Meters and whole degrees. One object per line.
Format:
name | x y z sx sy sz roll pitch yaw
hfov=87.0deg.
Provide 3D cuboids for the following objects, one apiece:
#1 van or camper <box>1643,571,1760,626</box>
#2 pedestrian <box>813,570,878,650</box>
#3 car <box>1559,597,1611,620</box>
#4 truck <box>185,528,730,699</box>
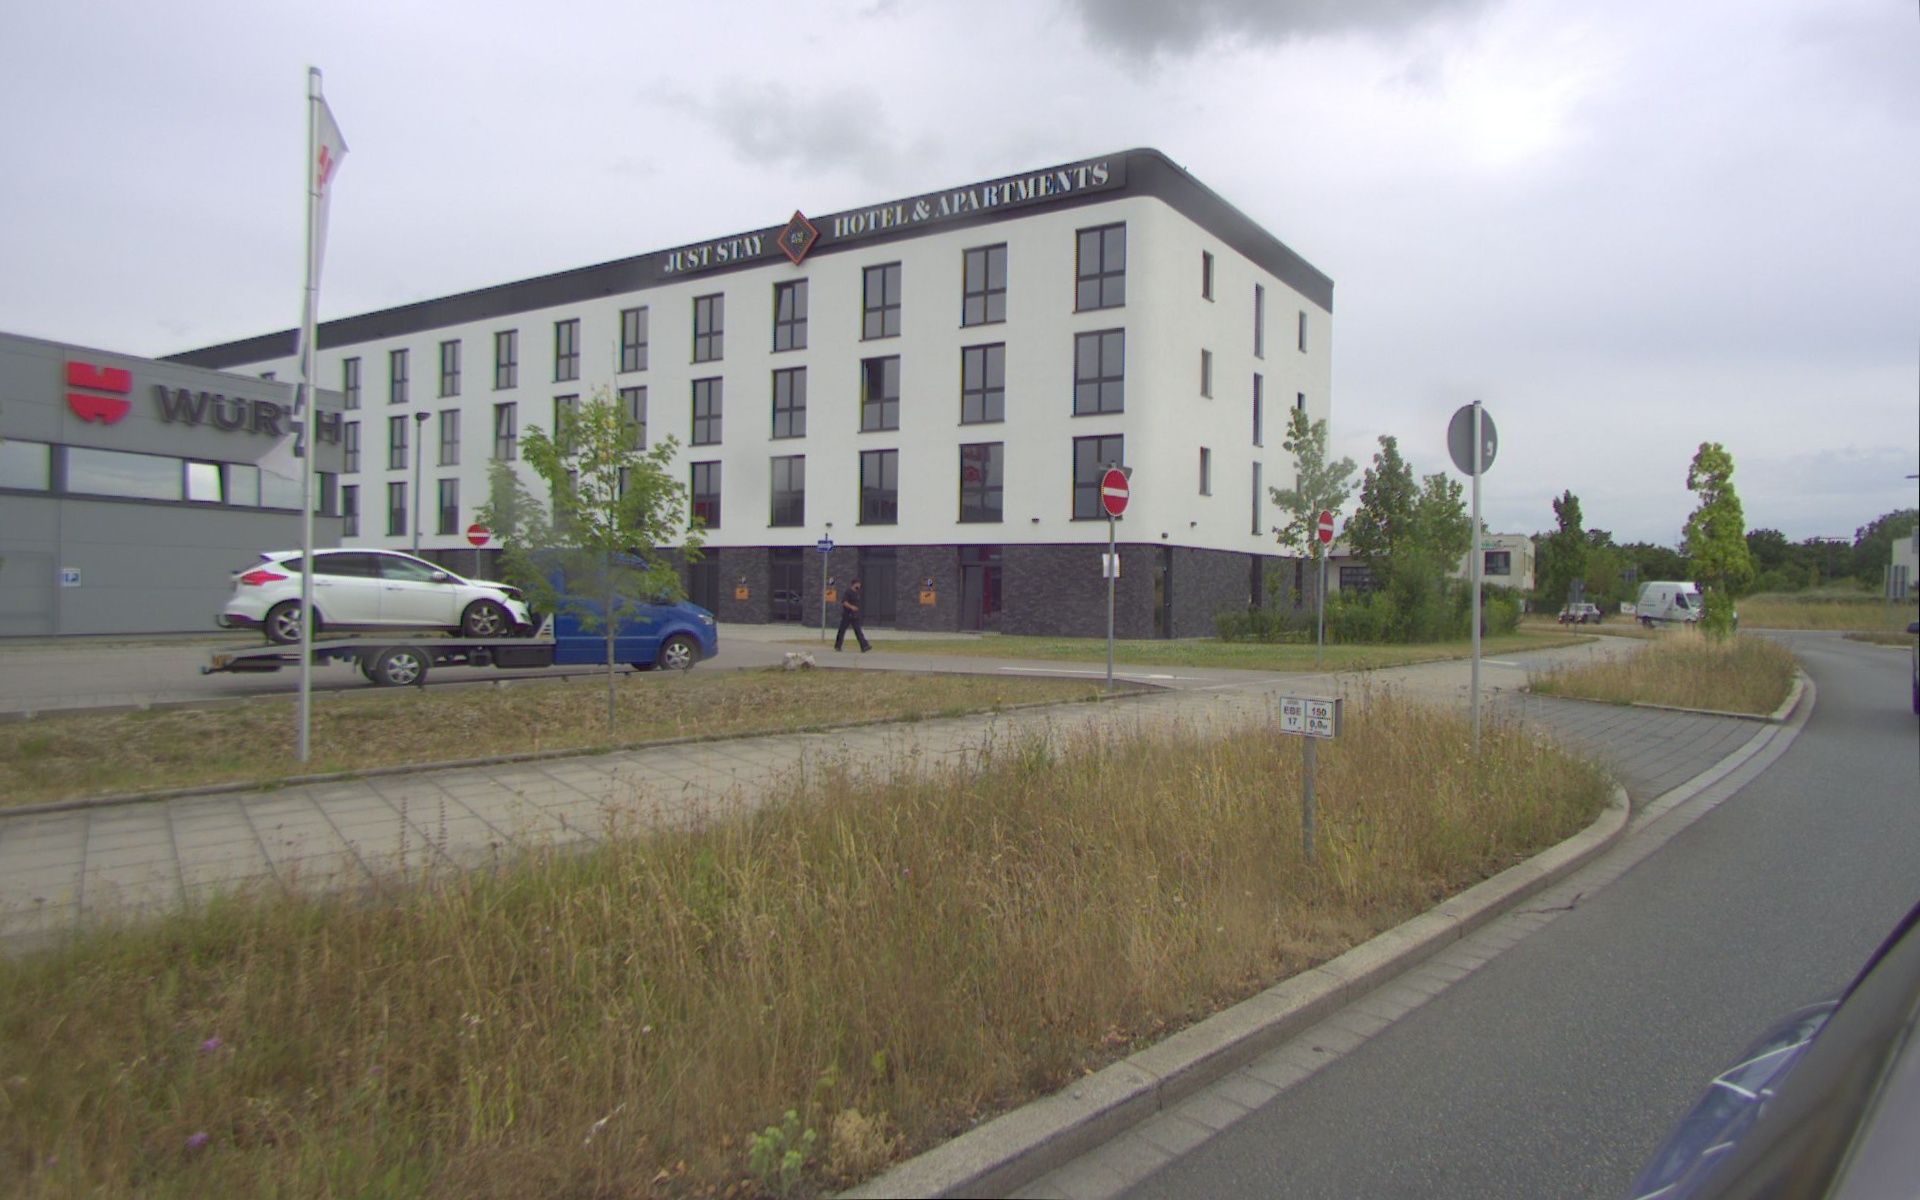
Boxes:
van or camper | 38.066 -0.124 52.193 2.226 2.649 5.689 1 1 5
pedestrian | -2.781 0.208 24.566 1.191 1.880 1.058 1 2 44
car | 44.366 0.578 71.808 3.929 1.605 1.997 -1 0 -40
truck | -8.157 0.157 17.307 8.064 2.355 2.232 0 1 -38
